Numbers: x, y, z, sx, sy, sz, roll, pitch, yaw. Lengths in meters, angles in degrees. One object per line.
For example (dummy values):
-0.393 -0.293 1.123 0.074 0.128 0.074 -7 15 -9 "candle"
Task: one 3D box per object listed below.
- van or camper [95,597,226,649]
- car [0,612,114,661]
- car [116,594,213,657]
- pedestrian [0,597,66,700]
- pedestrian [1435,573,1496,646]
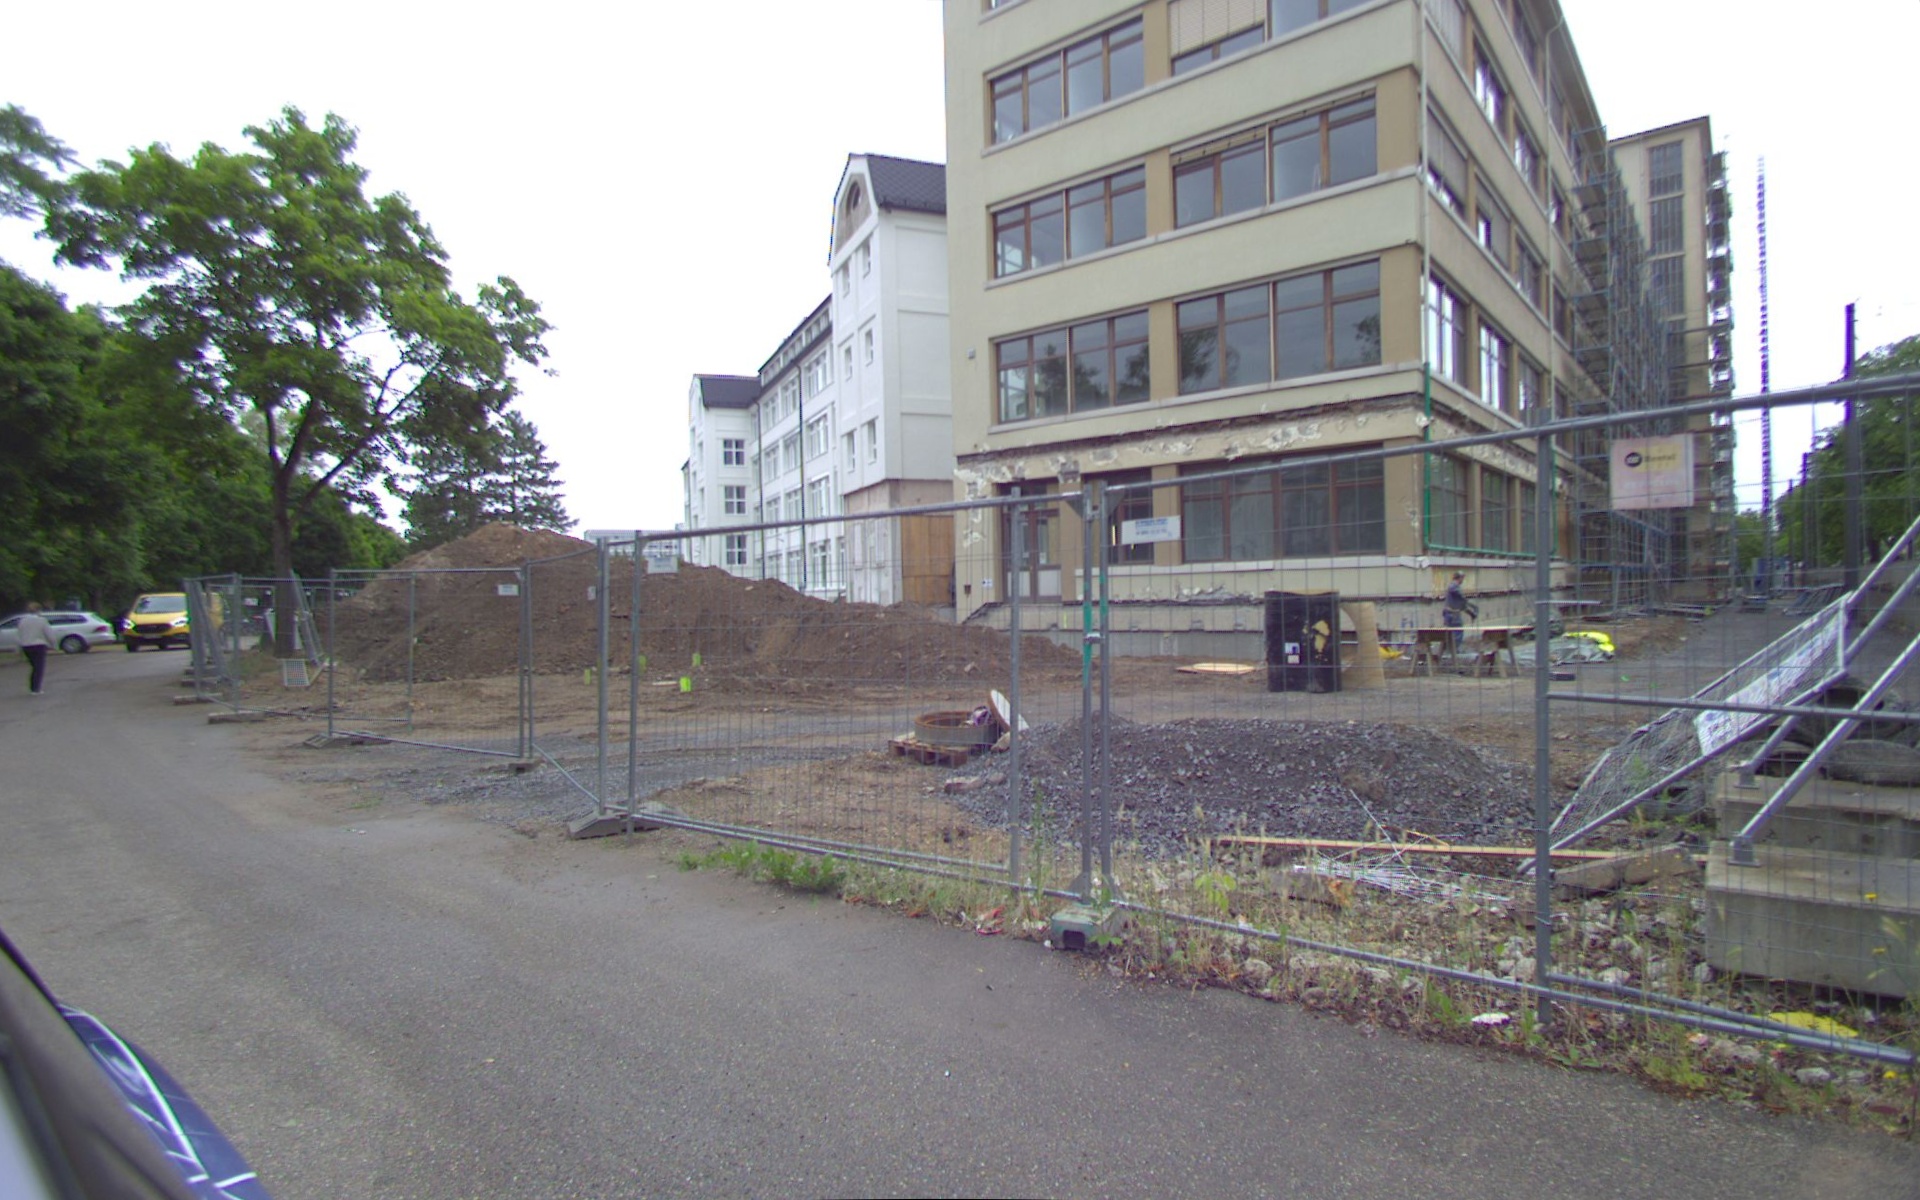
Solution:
-37.359 1.023 47.459 4.423 2.275 2.007 -1 0 -23 "van or camper"
-32.472 1.276 35.714 3.822 1.586 1.756 -1 0 -35 "car"
-27.859 0.867 35.590 2.089 2.029 4.012 -1 0 -30 "car"
-16.748 0.850 18.193 0.657 1.795 0.747 -1 0 16 "pedestrian"
10.413 0.194 20.876 0.975 1.448 0.925 -1 0 19 "pedestrian"
